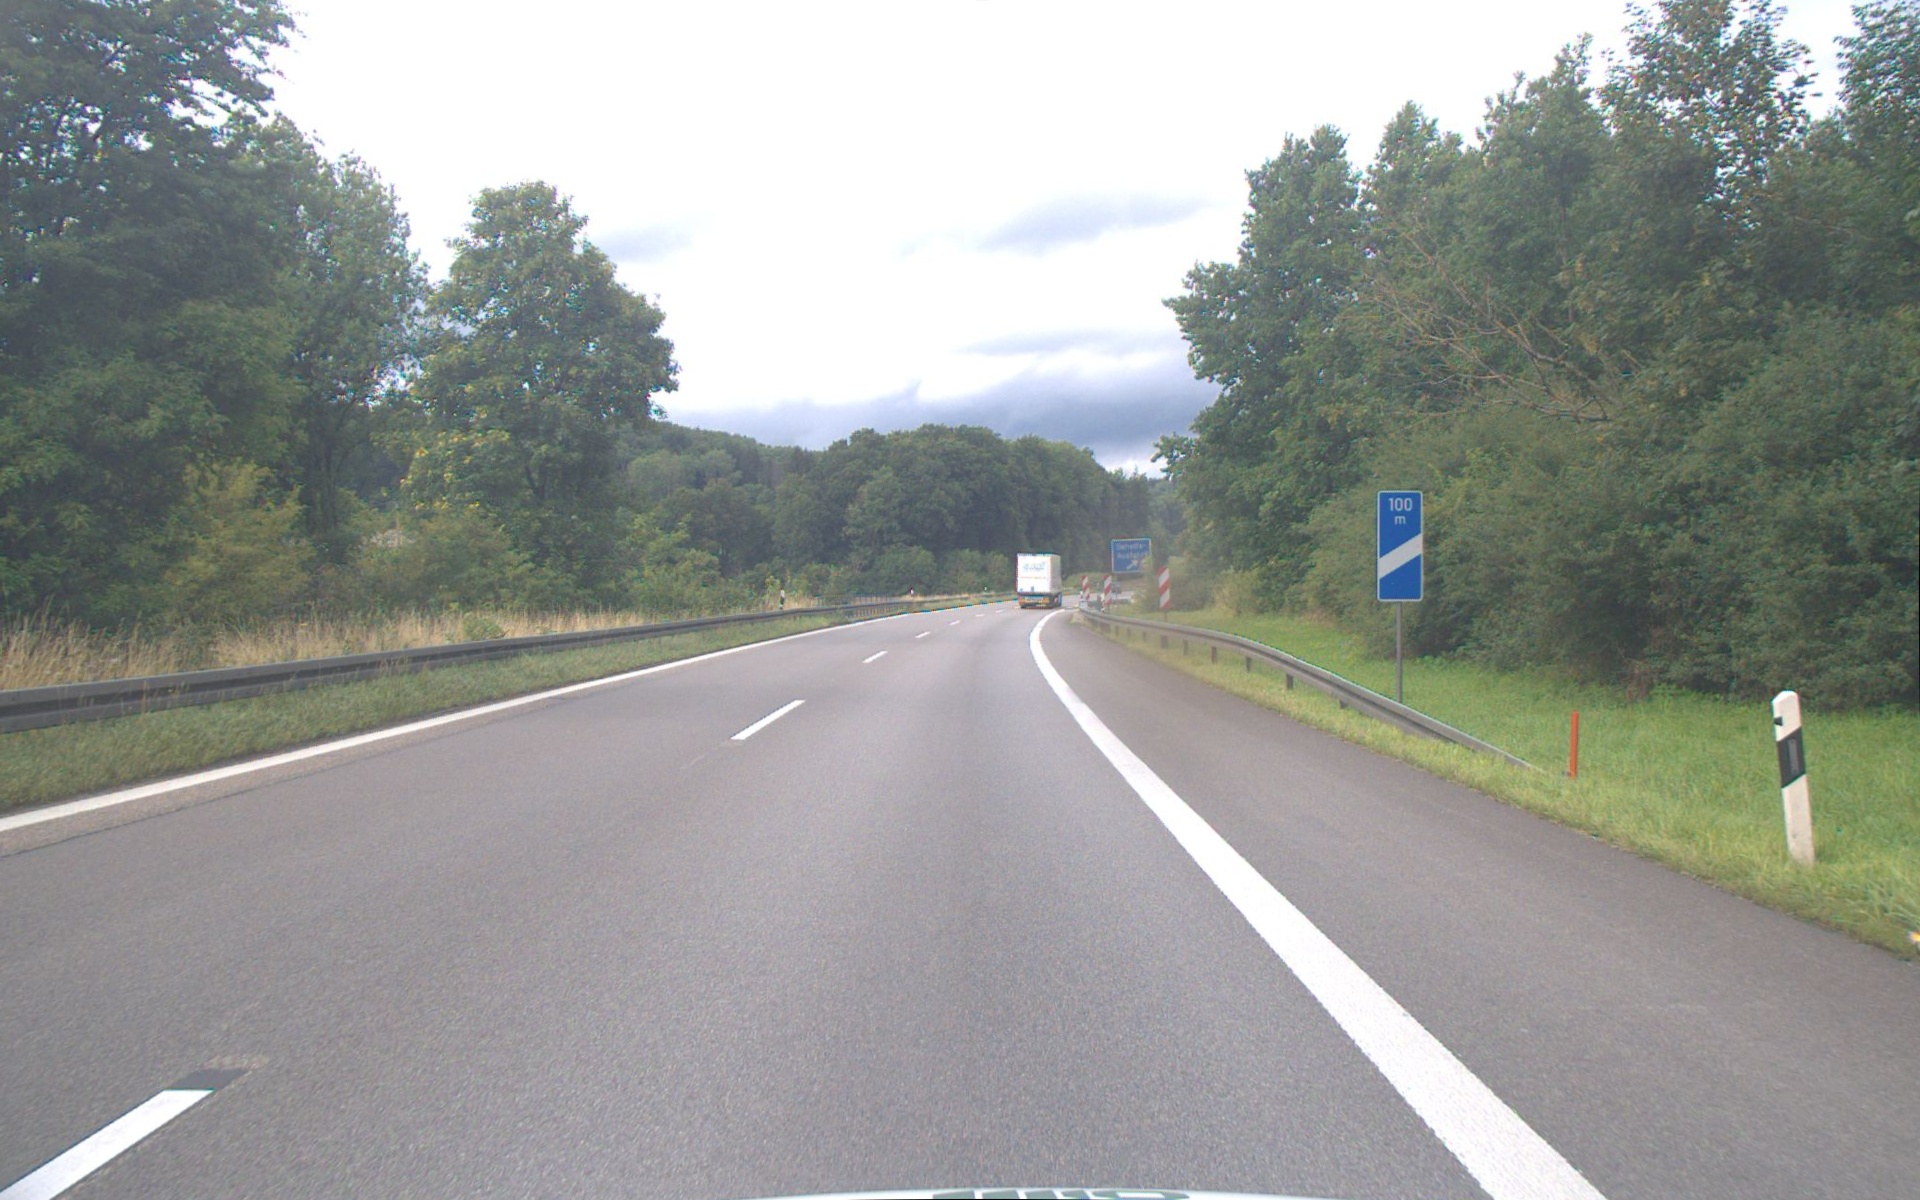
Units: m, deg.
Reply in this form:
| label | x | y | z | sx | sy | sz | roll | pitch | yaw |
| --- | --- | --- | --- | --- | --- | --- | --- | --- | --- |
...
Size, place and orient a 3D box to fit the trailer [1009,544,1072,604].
| label | x | y | z | sx | sy | sz | roll | pitch | yaw |
| --- | --- | --- | --- | --- | --- | --- | --- | --- | --- |
| trailer | 6.295 | -1.912 | 126.790 | 3.725 | 4.247 | 14.819 | -1 | 0 | 7 |

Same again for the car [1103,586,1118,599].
| label | x | y | z | sx | sy | sz | roll | pitch | yaw |
| --- | --- | --- | --- | --- | --- | --- | --- | --- | --- |
| car | 21.638 | -1.101 | 237.596 | 1.862 | 1.827 | 4.003 | 0 | -1 | 8 |

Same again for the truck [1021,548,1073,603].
| label | x | y | z | sx | sy | sz | roll | pitch | yaw |
| --- | --- | --- | --- | --- | --- | --- | --- | --- | --- |
| truck | 7.124 | -1.970 | 133.960 | 3.707 | 4.204 | 8.271 | -1 | 0 | 6 |
